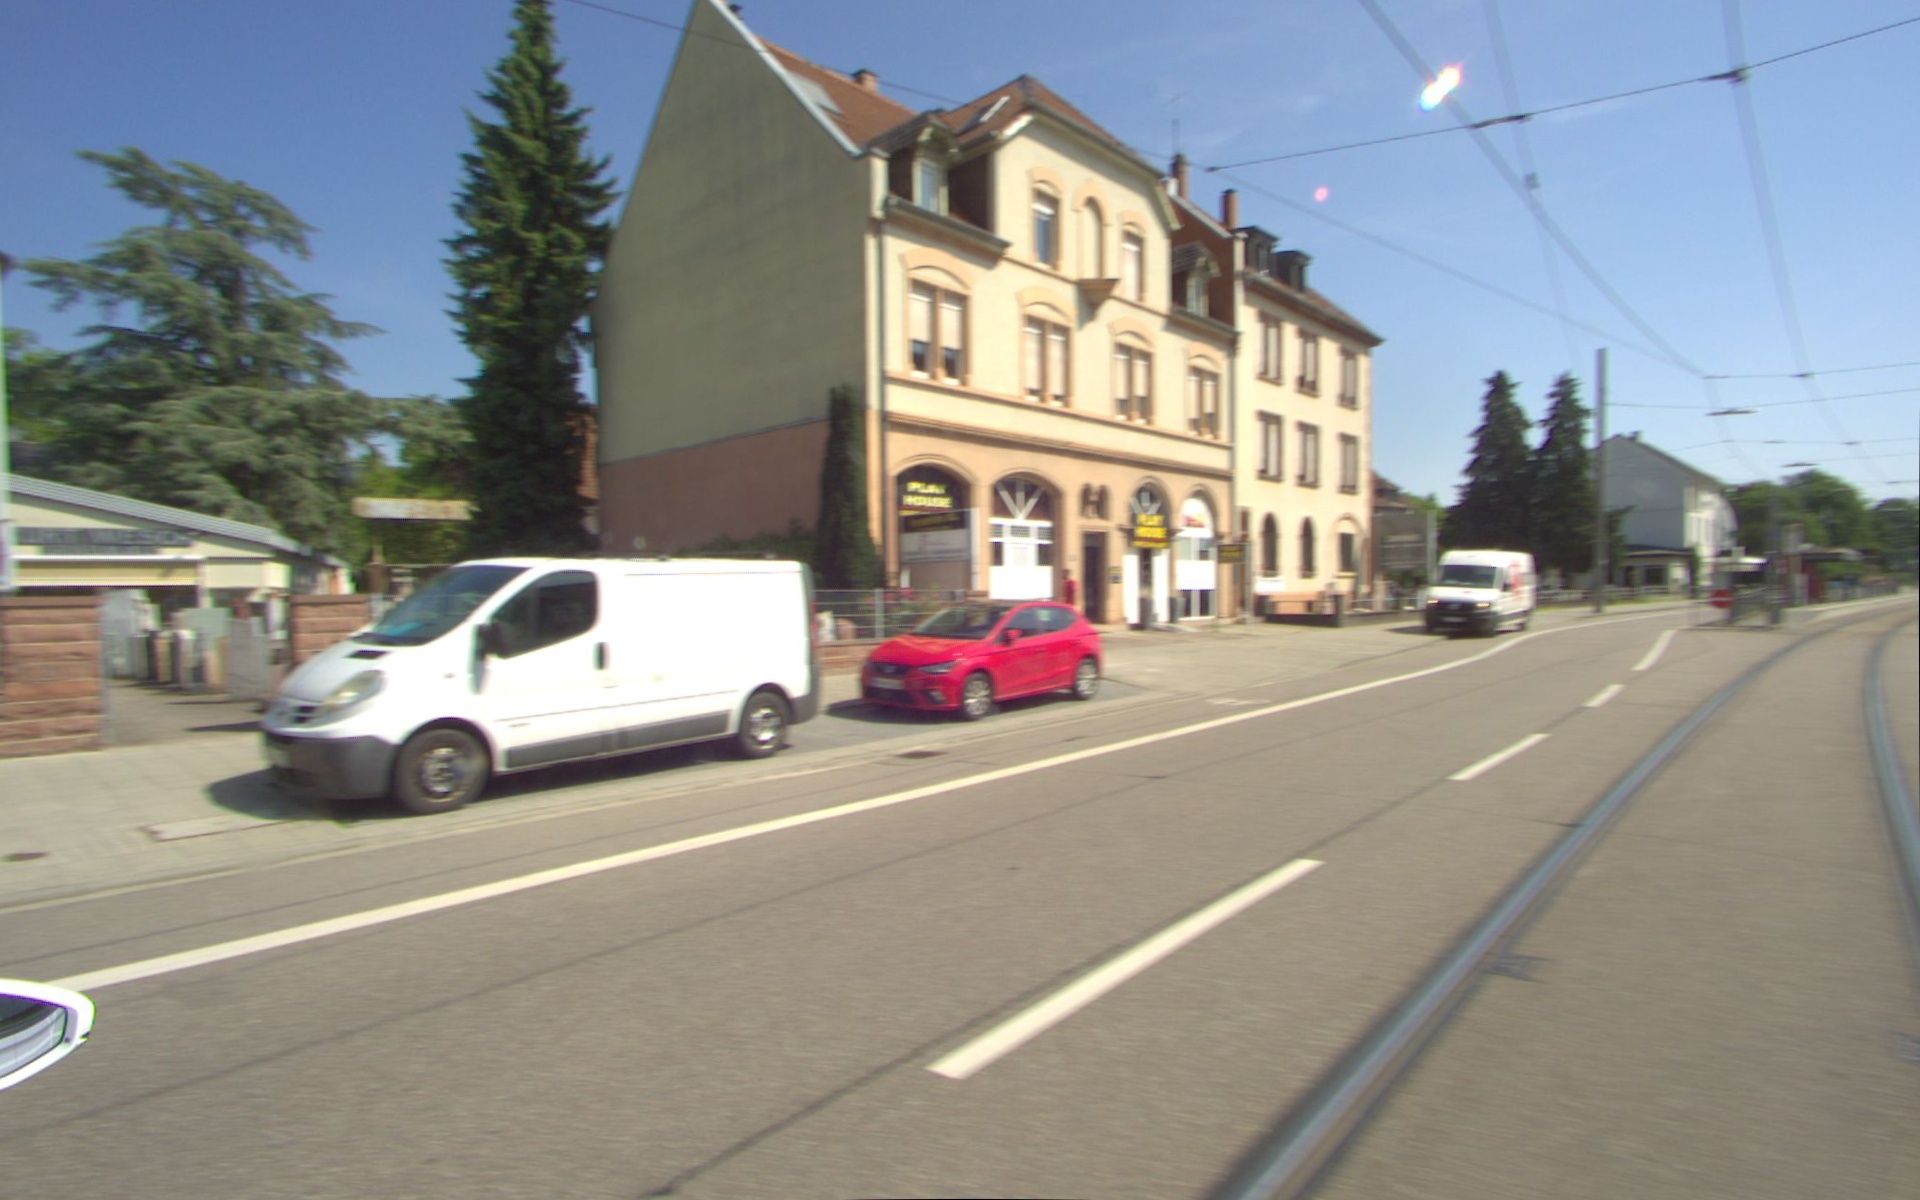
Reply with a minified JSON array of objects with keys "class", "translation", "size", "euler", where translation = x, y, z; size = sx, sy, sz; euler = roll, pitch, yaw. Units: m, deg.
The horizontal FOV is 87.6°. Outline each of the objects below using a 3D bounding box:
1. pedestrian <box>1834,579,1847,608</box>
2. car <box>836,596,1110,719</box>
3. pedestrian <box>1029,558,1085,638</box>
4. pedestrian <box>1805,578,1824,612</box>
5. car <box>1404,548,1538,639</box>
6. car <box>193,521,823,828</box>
[{"class":"pedestrian","translation":[51.457,-0.372,58.519],"size":[0.410,1.713,0.703],"euler":[1,2,32]},{"class":"car","translation":[0.314,0.668,13.832],"size":[1.705,1.425,3.970],"euler":[0,1,39]},{"class":"pedestrian","translation":[2.260,-0.047,23.535],"size":[1.108,1.840,0.944],"euler":[-1,2,-9]},{"class":"pedestrian","translation":[43.690,-0.257,51.184],"size":[0.699,1.713,0.413],"euler":[1,2,39]},{"class":"car","translation":[16.223,-0.256,31.564],"size":[2.308,2.571,6.454],"euler":[3,3,40]},{"class":"car","translation":[-3.769,0.462,9.190],"size":[2.066,2.041,4.868],"euler":[1,2,40]}]
